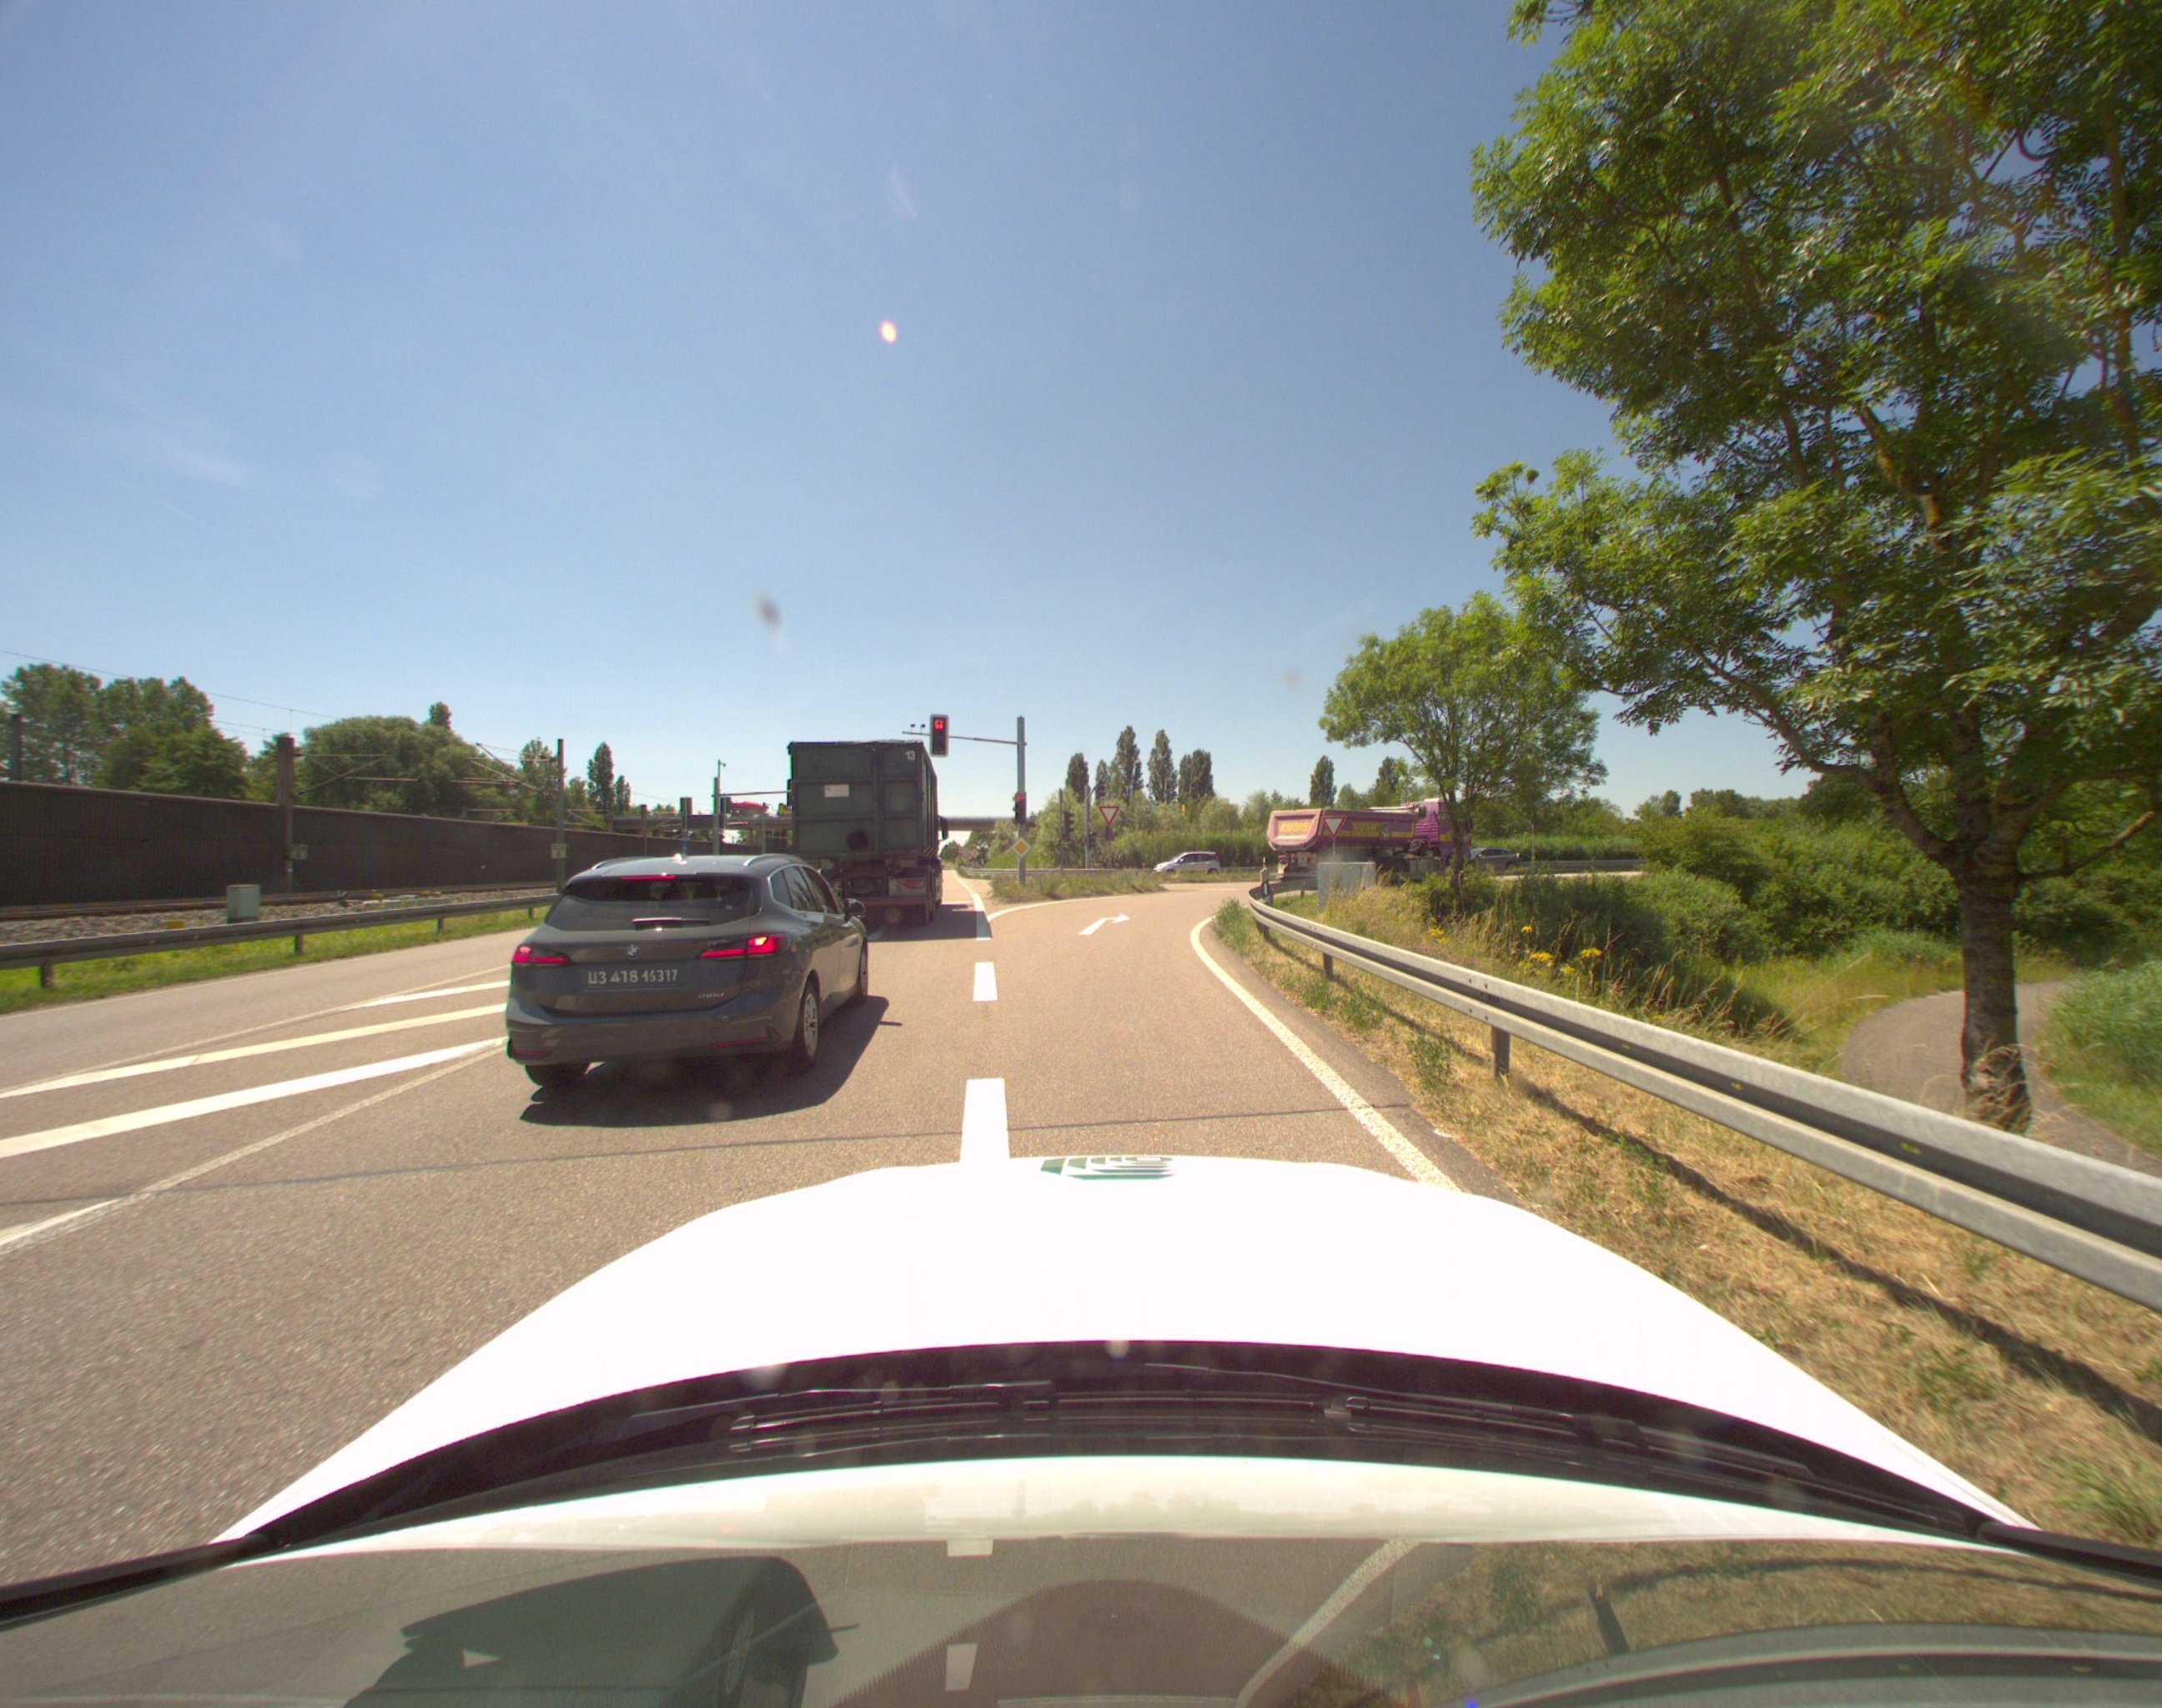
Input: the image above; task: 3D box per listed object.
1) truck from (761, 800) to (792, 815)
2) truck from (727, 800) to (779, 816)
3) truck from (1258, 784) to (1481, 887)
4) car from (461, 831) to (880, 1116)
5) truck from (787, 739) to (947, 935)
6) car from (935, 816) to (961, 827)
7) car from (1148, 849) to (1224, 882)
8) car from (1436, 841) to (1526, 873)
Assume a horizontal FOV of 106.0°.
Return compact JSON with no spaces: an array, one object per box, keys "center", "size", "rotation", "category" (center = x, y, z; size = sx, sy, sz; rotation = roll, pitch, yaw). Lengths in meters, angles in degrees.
[{"center":[-55.996,-8.555,149.881],"size":[5.091,2.674,1.993],"rotation":[-1,0,-10],"category":"truck"},{"center":[-60.073,-8.434,149.225],"size":[8.492,2.674,1.994],"rotation":[-1,0,-9],"category":"truck"},{"center":[12.728,-0.762,34.996],"size":[11.939,3.821,2.811],"rotation":[-1,-1,-37],"category":"truck"},{"center":[-2.940,0.709,6.964],"size":[1.843,1.623,4.215],"rotation":[-1,0,-7],"category":"car"},{"center":[-4.889,-0.354,20.444],"size":[2.588,3.737,9.550],"rotation":[-1,0,-7],"category":"truck"},{"center":[-26.786,-6.598,164.095],"size":[4.958,2.014,1.994],"rotation":[-1,0,-9],"category":"car"},{"center":[5.595,0.614,43.764],"size":[3.705,1.632,1.729],"rotation":[-1,0,-9],"category":"car"},{"center":[22.499,0.172,45.872],"size":[4.221,1.632,1.929],"rotation":[-1,0,-7],"category":"car"}]
